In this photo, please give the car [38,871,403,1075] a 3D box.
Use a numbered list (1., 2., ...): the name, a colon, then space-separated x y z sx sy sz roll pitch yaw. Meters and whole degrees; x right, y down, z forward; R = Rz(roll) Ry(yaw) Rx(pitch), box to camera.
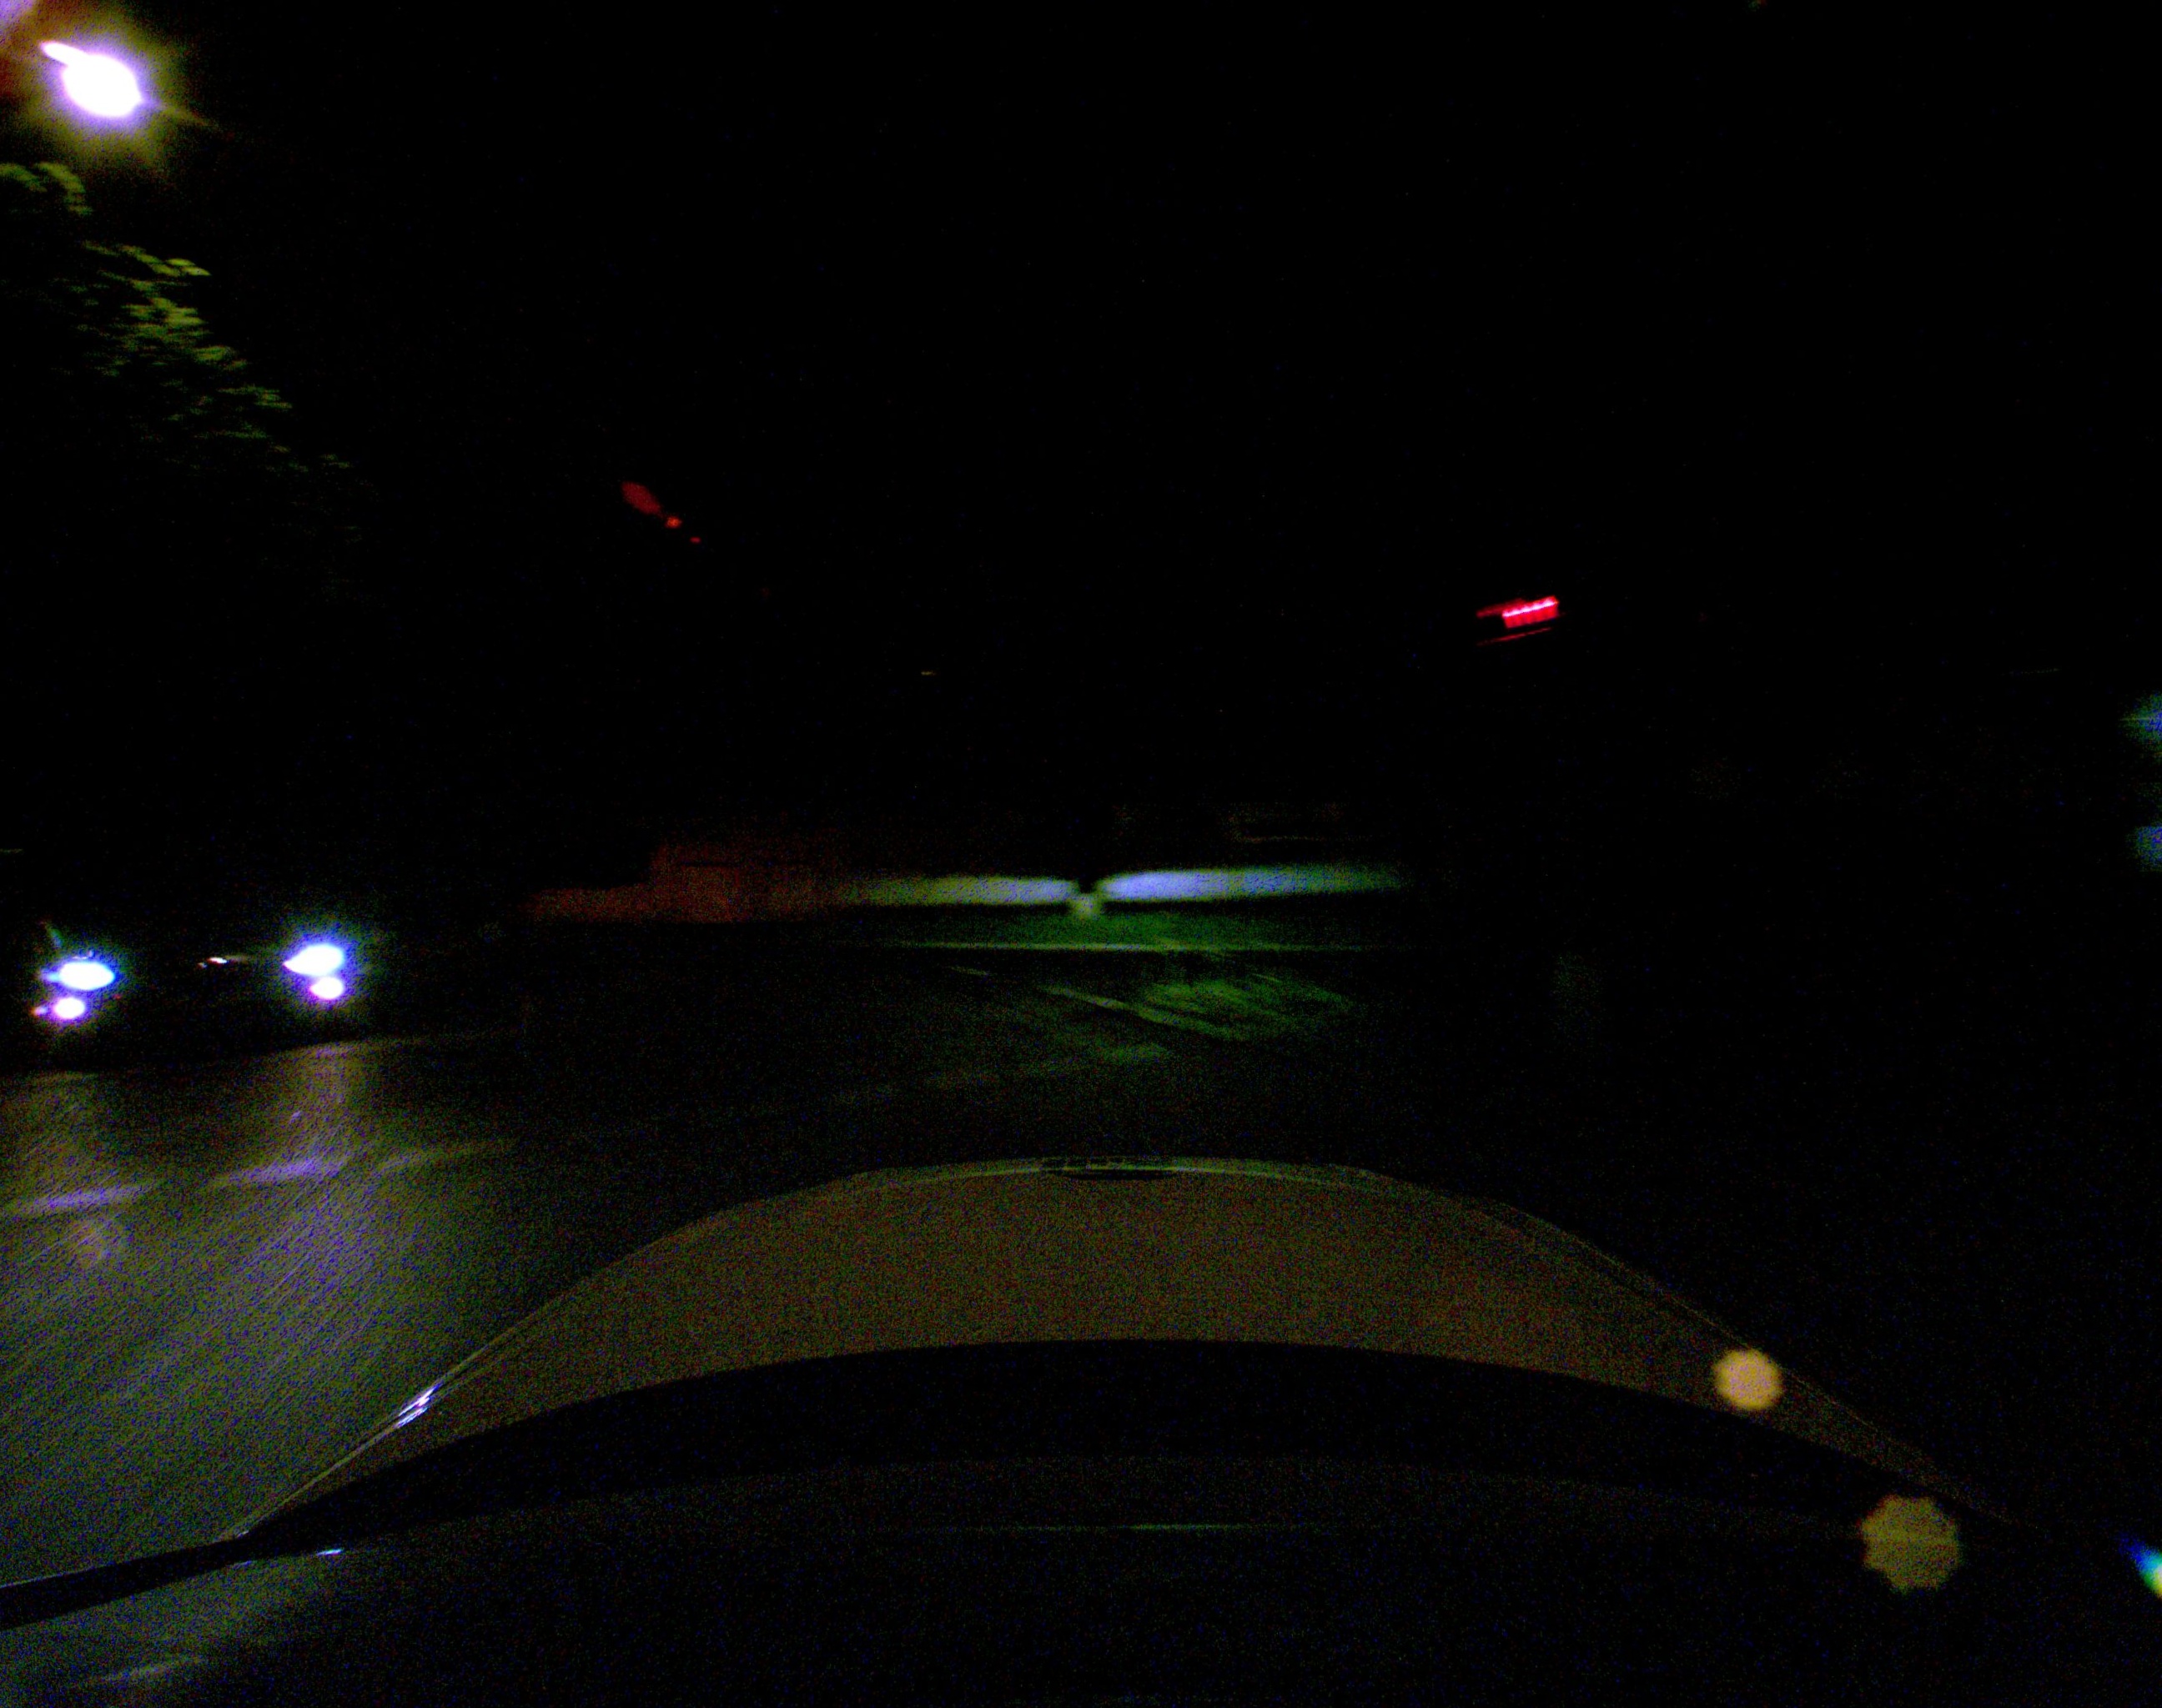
1. car: -8.284 0.937 8.315 1.739 1.429 4.243 -2 0 -35
